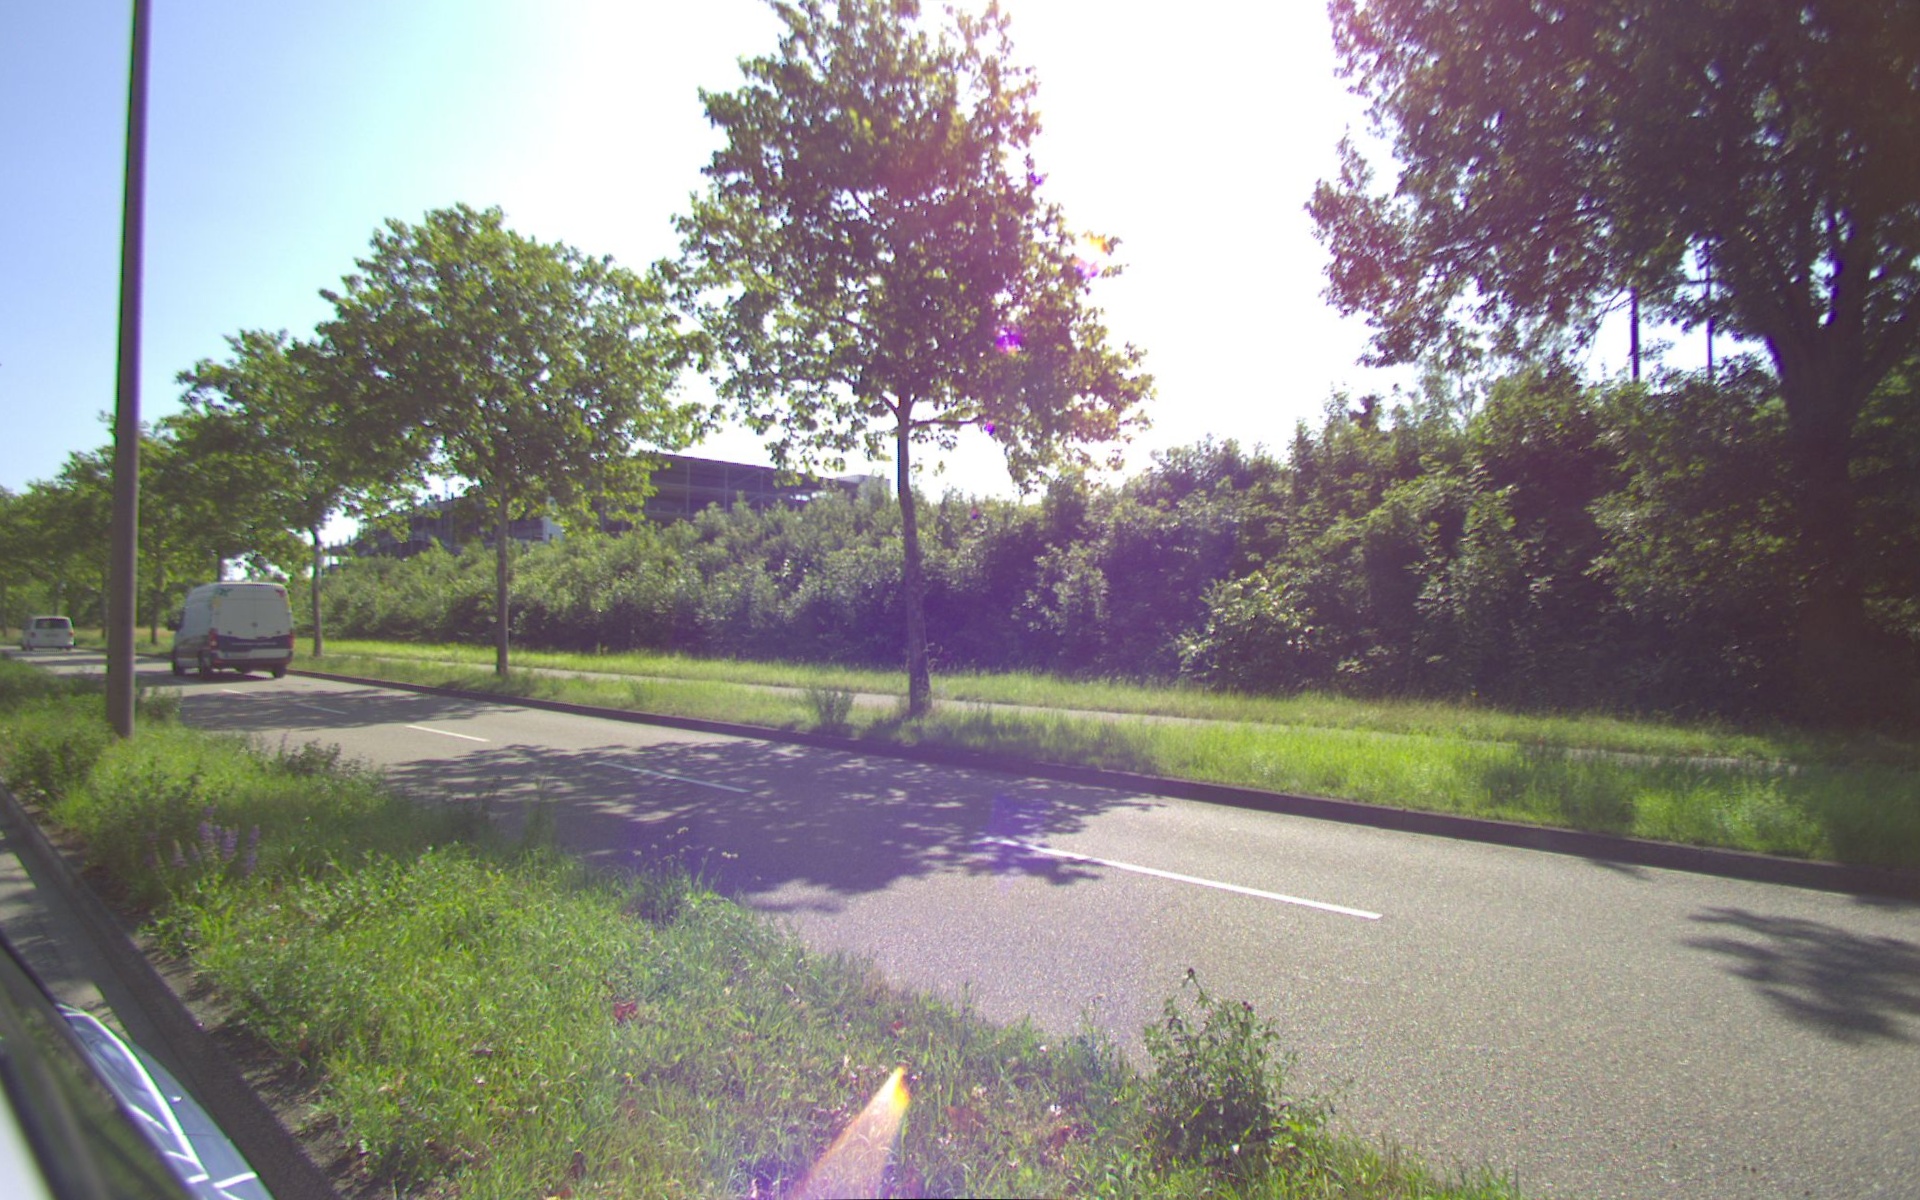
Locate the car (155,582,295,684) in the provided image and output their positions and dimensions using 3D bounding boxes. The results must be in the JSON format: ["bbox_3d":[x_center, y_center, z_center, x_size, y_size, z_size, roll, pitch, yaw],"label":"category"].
[{"bbox_3d":[-21.300,0.947,29.229,5.783,2.683,1.973,-1,-3,41],"label":"car"}]

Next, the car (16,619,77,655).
[{"bbox_3d":[-51.168,2.059,56.660,4.573,1.912,1.972,-1,-4,42],"label":"car"}]
